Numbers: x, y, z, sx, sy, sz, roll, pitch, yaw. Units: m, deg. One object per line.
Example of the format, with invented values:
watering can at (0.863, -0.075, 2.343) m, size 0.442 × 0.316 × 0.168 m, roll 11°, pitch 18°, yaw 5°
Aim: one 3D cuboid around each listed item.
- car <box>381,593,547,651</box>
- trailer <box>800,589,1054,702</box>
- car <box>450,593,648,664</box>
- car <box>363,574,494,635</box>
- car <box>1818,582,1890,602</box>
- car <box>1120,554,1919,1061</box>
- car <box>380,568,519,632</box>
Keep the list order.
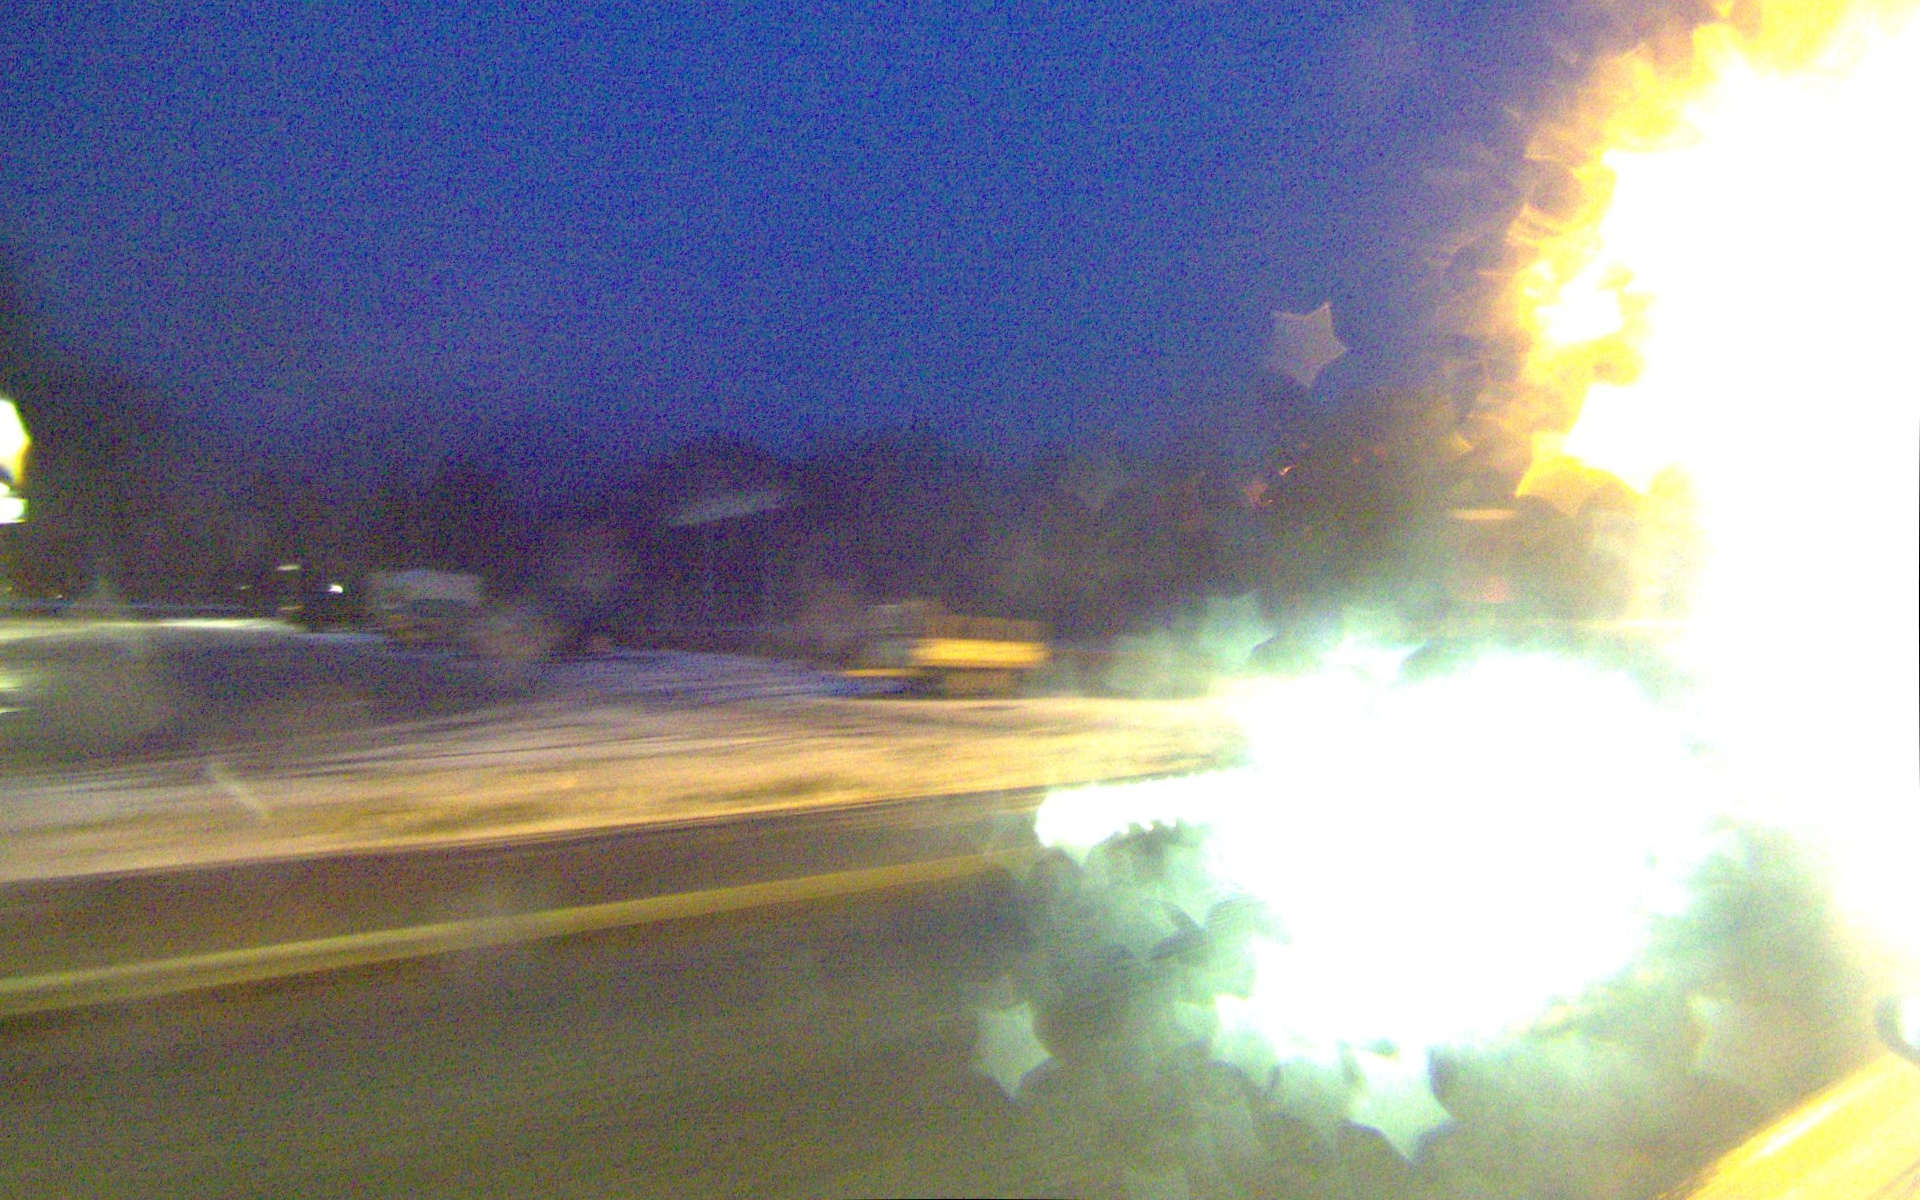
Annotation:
car at (-16.610, 0.757, 33.774) m, size 4.597 × 1.719 × 1.917 m, roll 3°, pitch 1°, yaw -44°
trailer at (-0.490, 0.714, 17.109) m, size 4.065 × 1.699 × 1.799 m, roll 0°, pitch -1°, yaw -39°
car at (-11.181, 0.798, 27.514) m, size 4.597 × 1.719 × 1.917 m, roll 3°, pitch 1°, yaw -44°
car at (-20.053, 0.193, 37.984) m, size 1.740 × 2.083 × 3.977 m, roll 4°, pitch 1°, yaw 43°
car at (84.132, -0.755, 94.632) m, size 4.850 × 1.758 × 1.992 m, roll 0°, pitch 1°, yaw 37°
car at (2.855, 0.703, 4.824) m, size 4.071 × 1.530 × 1.627 m, roll 2°, pitch -2°, yaw -32°
car at (-18.357, 0.021, 36.196) m, size 1.972 × 2.083 × 3.977 m, roll 4°, pitch 1°, yaw 43°
